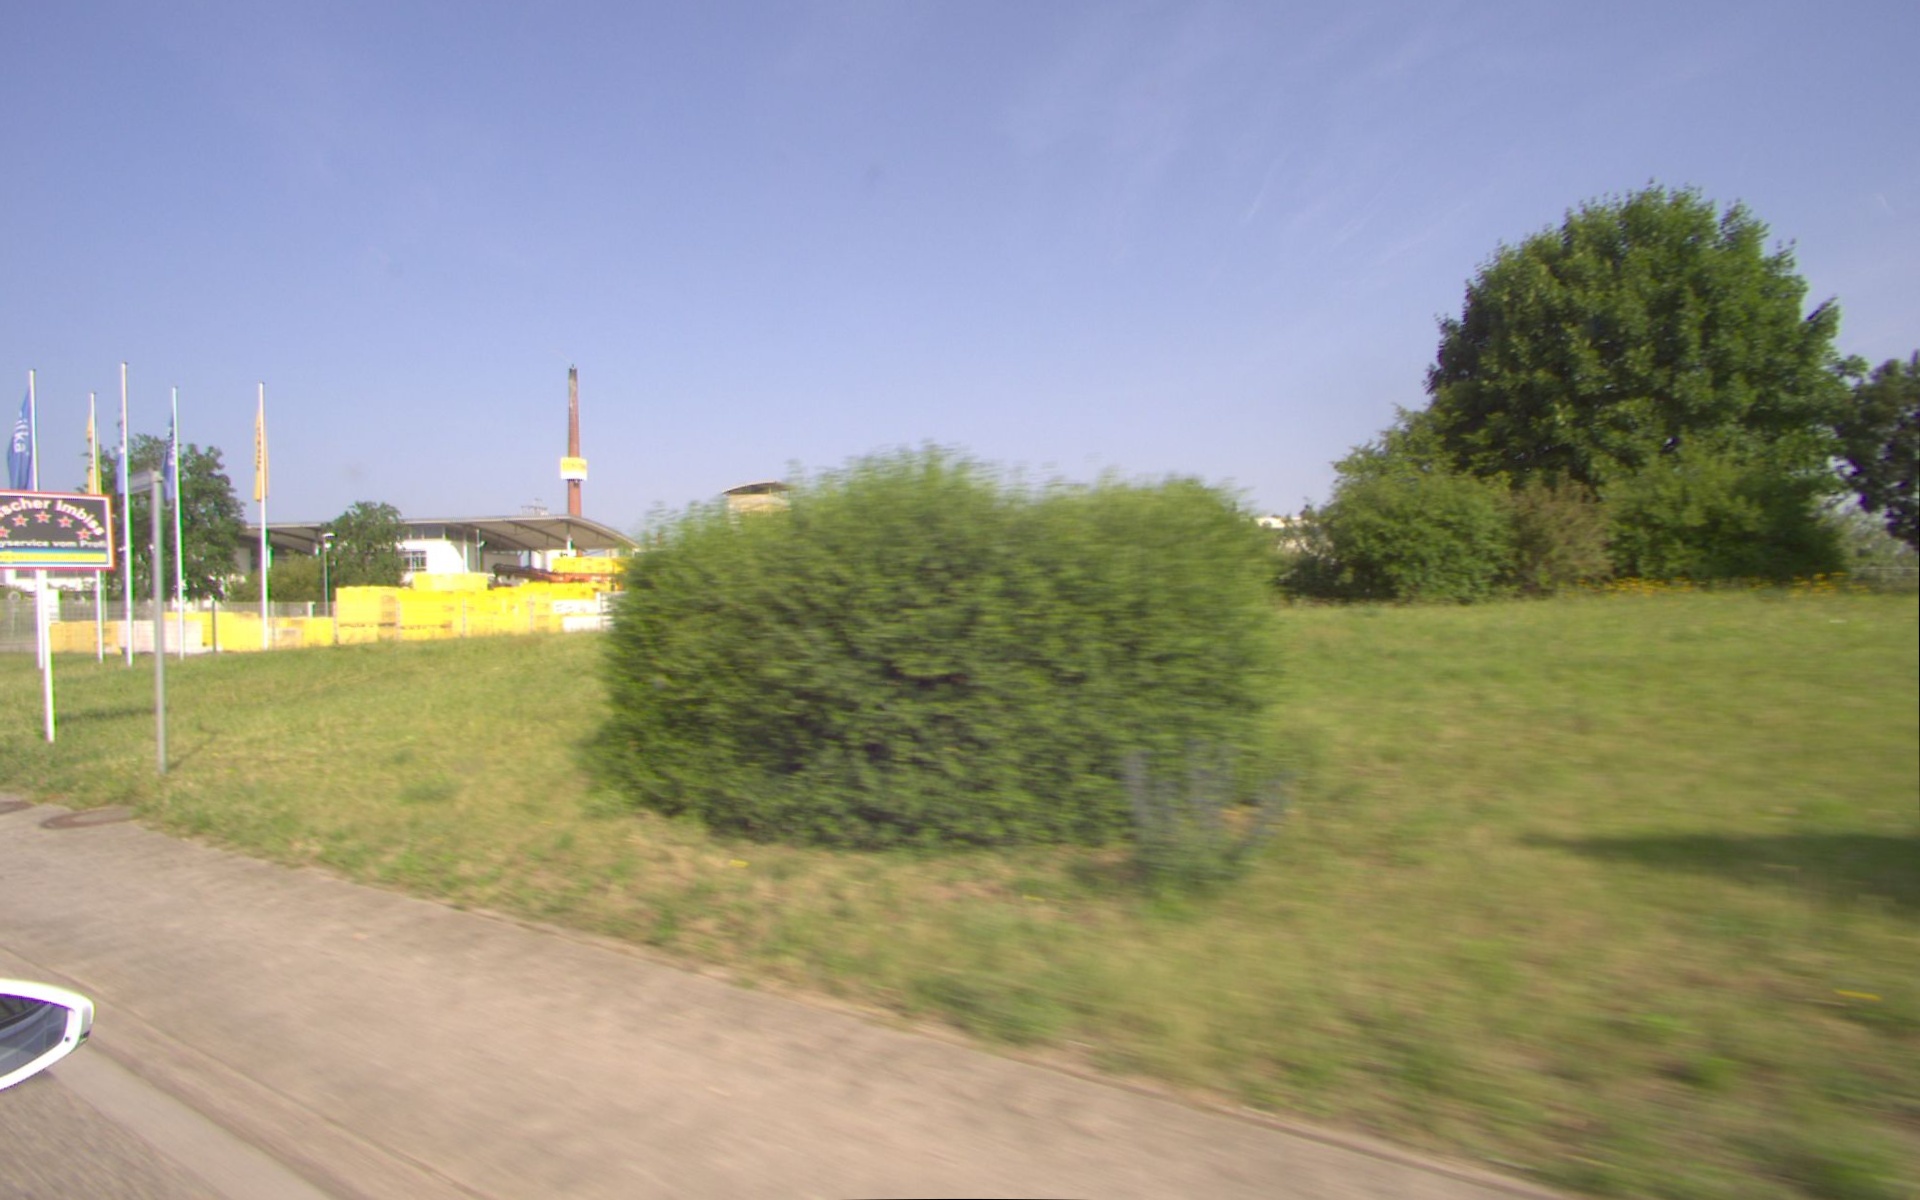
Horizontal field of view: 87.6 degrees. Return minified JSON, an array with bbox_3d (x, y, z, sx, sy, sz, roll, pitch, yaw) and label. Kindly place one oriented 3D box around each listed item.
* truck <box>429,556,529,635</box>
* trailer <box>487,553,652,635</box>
[{"bbox_3d":[-24.857,-0.167,51.845,3.924,3.925,2.545,-1,-2,11],"label":"truck"},{"bbox_3d":[-19.796,-0.226,50.870,7.653,3.925,2.485,-1,-2,11],"label":"trailer"}]
